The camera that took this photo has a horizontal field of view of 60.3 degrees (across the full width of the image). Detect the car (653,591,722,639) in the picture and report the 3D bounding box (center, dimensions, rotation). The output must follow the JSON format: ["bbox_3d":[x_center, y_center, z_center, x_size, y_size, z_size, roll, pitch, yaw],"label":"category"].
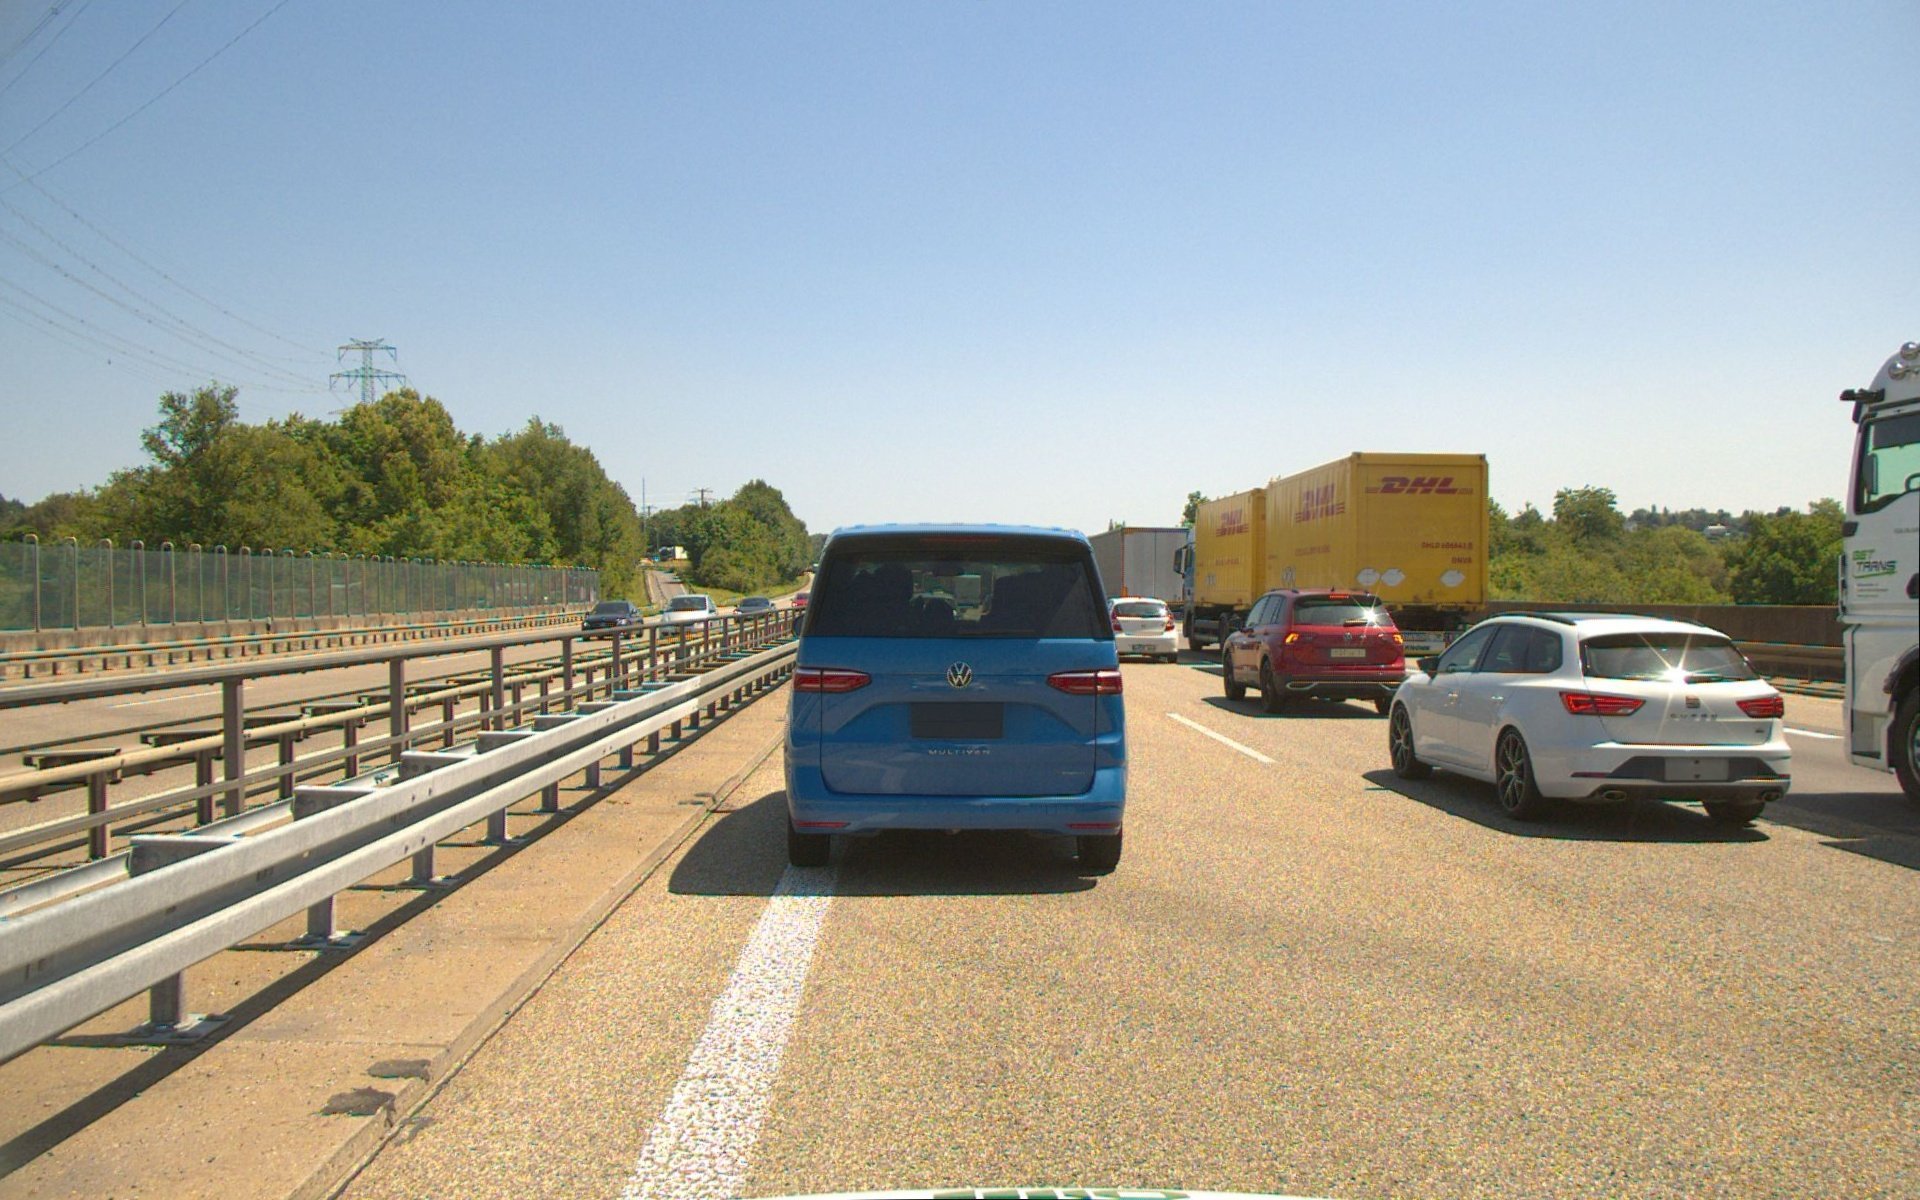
[{"bbox_3d":[-9.338,0.510,56.915,1.803,1.556,3.557,-1,0,-1],"label":"car"}]

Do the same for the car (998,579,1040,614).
[{"bbox_3d":[2.734,-0.168,77.333,1.680,1.567,3.820,-1,0,-1],"label":"car"}]

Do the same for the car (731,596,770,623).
[{"bbox_3d":[-10.690,0.456,84.583,1.551,1.321,3.890,-1,0,-2],"label":"car"}]

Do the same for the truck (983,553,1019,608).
[{"bbox_3d":[4.025,-1.845,164.524,2.777,5.128,11.139,1,0,-3],"label":"truck"}]

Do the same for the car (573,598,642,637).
[{"bbox_3d":[-13.436,0.671,63.228,1.764,1.410,4.262,1,0,-1],"label":"car"}]

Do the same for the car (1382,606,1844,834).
[{"bbox_3d":[4.686,0.774,12.594,1.745,1.411,4.186,0,0,-2],"label":"car"}]

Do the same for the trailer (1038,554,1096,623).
[{"bbox_3d":[6.211,-0.598,97.495,2.331,3.809,11.184,1,0,-2],"label":"trailer"}]

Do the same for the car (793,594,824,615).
[{"bbox_3d":[-10.745,0.334,117.500,1.805,1.472,4.417,1,0,-1],"label":"car"}]

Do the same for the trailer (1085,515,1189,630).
[{"bbox_3d":[6.996,-0.968,67.090,2.699,4.219,11.308,1,0,-1],"label":"trailer"}]

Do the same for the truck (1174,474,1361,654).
[{"bbox_3d":[7.802,-0.793,43.480,2.667,4.125,10.332,1,0,-2],"label":"truck"}]

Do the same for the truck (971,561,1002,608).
[{"bbox_3d":[2.973,-1.719,188.102,2.777,5.128,11.810,1,0,-3],"label":"truck"}]

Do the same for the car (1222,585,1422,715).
[{"bbox_3d":[4.916,0.627,22.999,1.813,1.636,3.999,0,0,-1],"label":"car"}]

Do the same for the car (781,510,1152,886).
[{"bbox_3d":[-0.003,0.486,10.249,1.844,1.869,3.999,0,0,-1],"label":"car"}]

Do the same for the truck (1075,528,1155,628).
[{"bbox_3d":[6.848,-0.924,73.832,2.712,4.167,6.982,1,0,-1],"label":"truck"}]

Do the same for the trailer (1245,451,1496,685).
[{"bbox_3d":[8.061,-0.537,33.829,2.647,4.094,8.927,1,0,-2],"label":"trailer"}]

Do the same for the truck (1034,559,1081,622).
[{"bbox_3d":[6.027,-0.569,103.114,2.320,3.787,6.031,1,0,-2],"label":"truck"}]

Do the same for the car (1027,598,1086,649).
[{"bbox_3d":[3.198,0.789,55.303,1.680,1.615,3.819,0,-1,-1],"label":"car"}]

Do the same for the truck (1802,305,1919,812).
[{"bbox_3d":[8.457,-0.300,8.167,2.793,3.666,10.764,1,0,-2],"label":"truck"}]

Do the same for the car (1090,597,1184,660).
[{"bbox_3d":[4.191,0.646,39.750,1.801,1.438,3.999,0,0,-1],"label":"car"}]
